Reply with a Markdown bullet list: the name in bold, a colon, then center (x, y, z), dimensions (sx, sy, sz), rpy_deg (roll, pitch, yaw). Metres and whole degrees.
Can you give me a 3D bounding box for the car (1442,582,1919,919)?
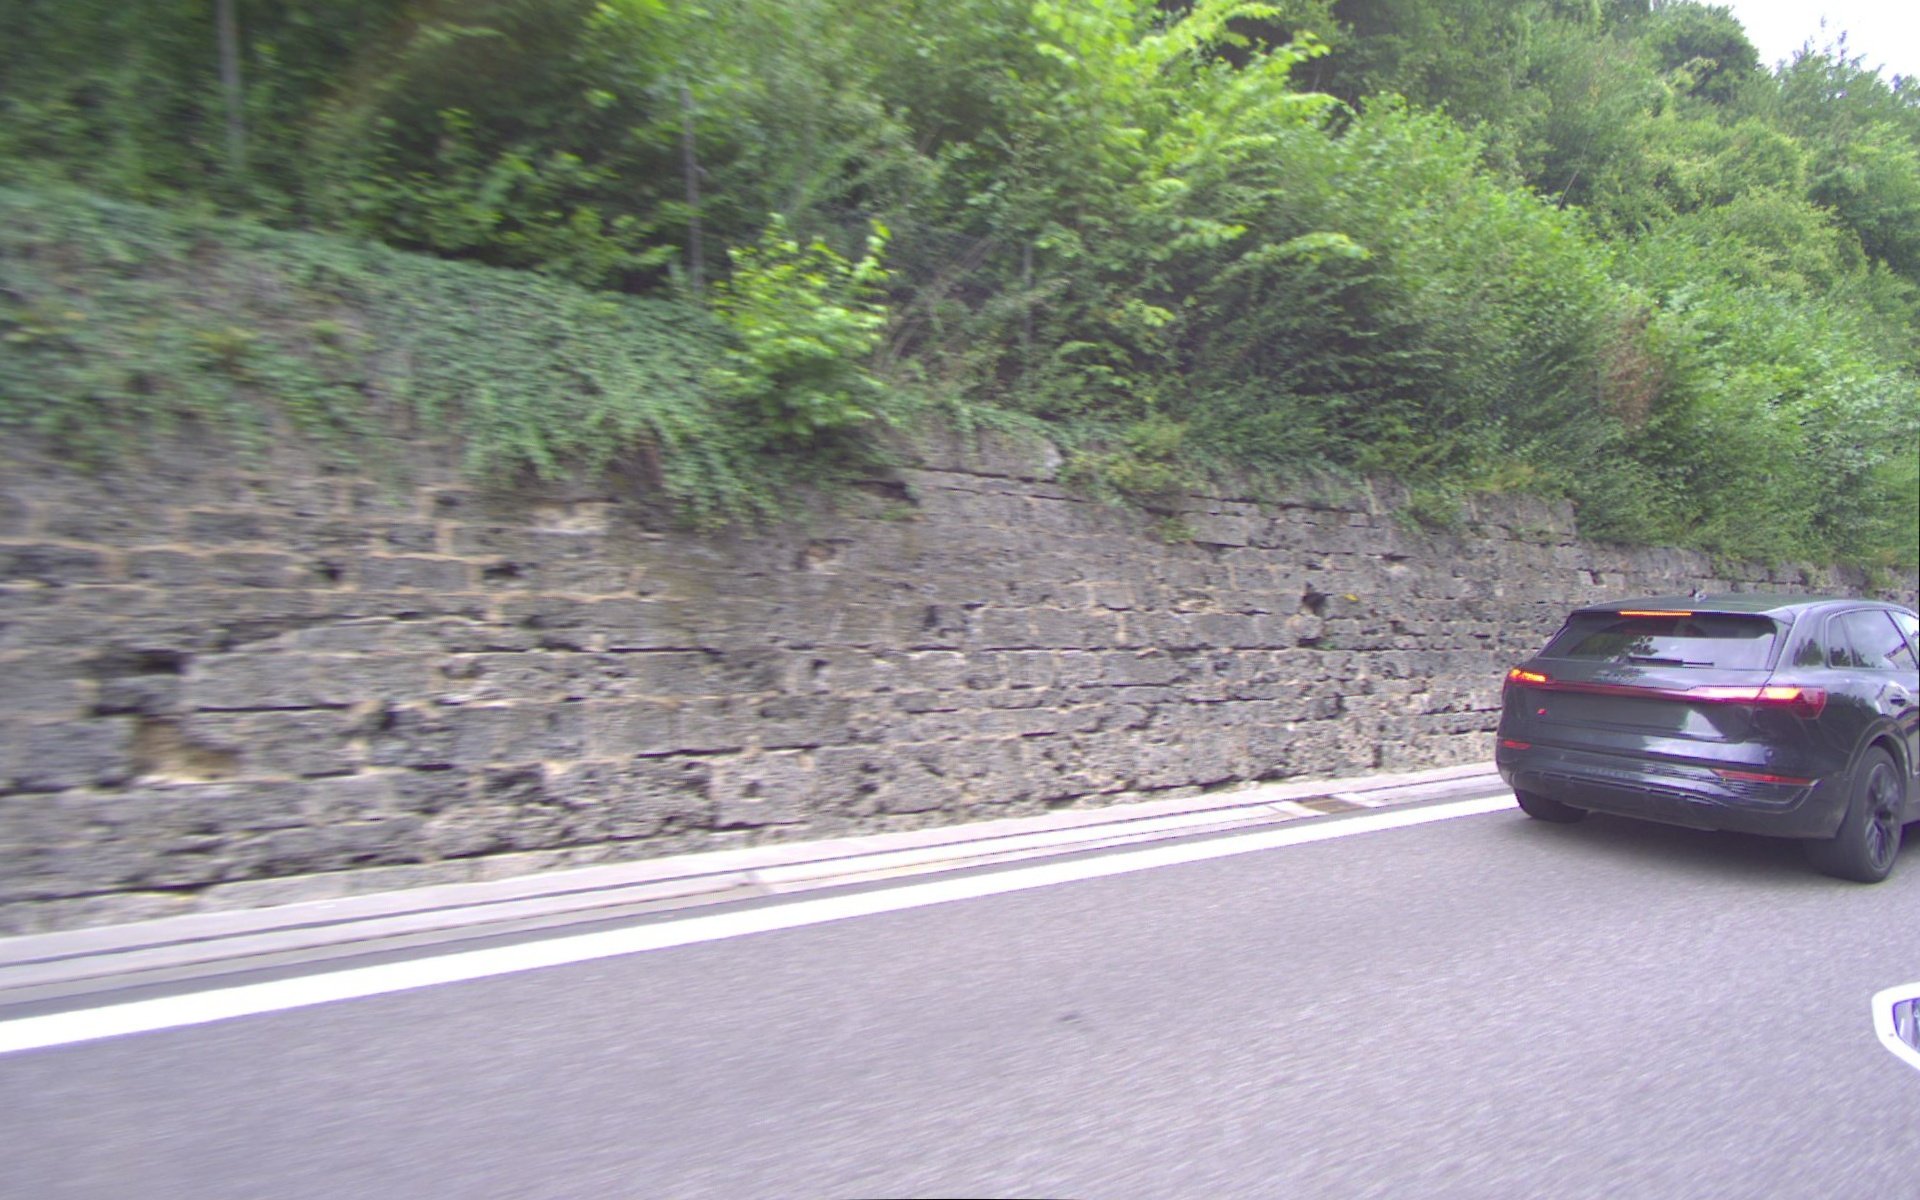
- **car**: center (5.809, 0.771, 7.100), dimensions (4.952, 1.654, 1.983), rpy_deg (1, 1, -32)
